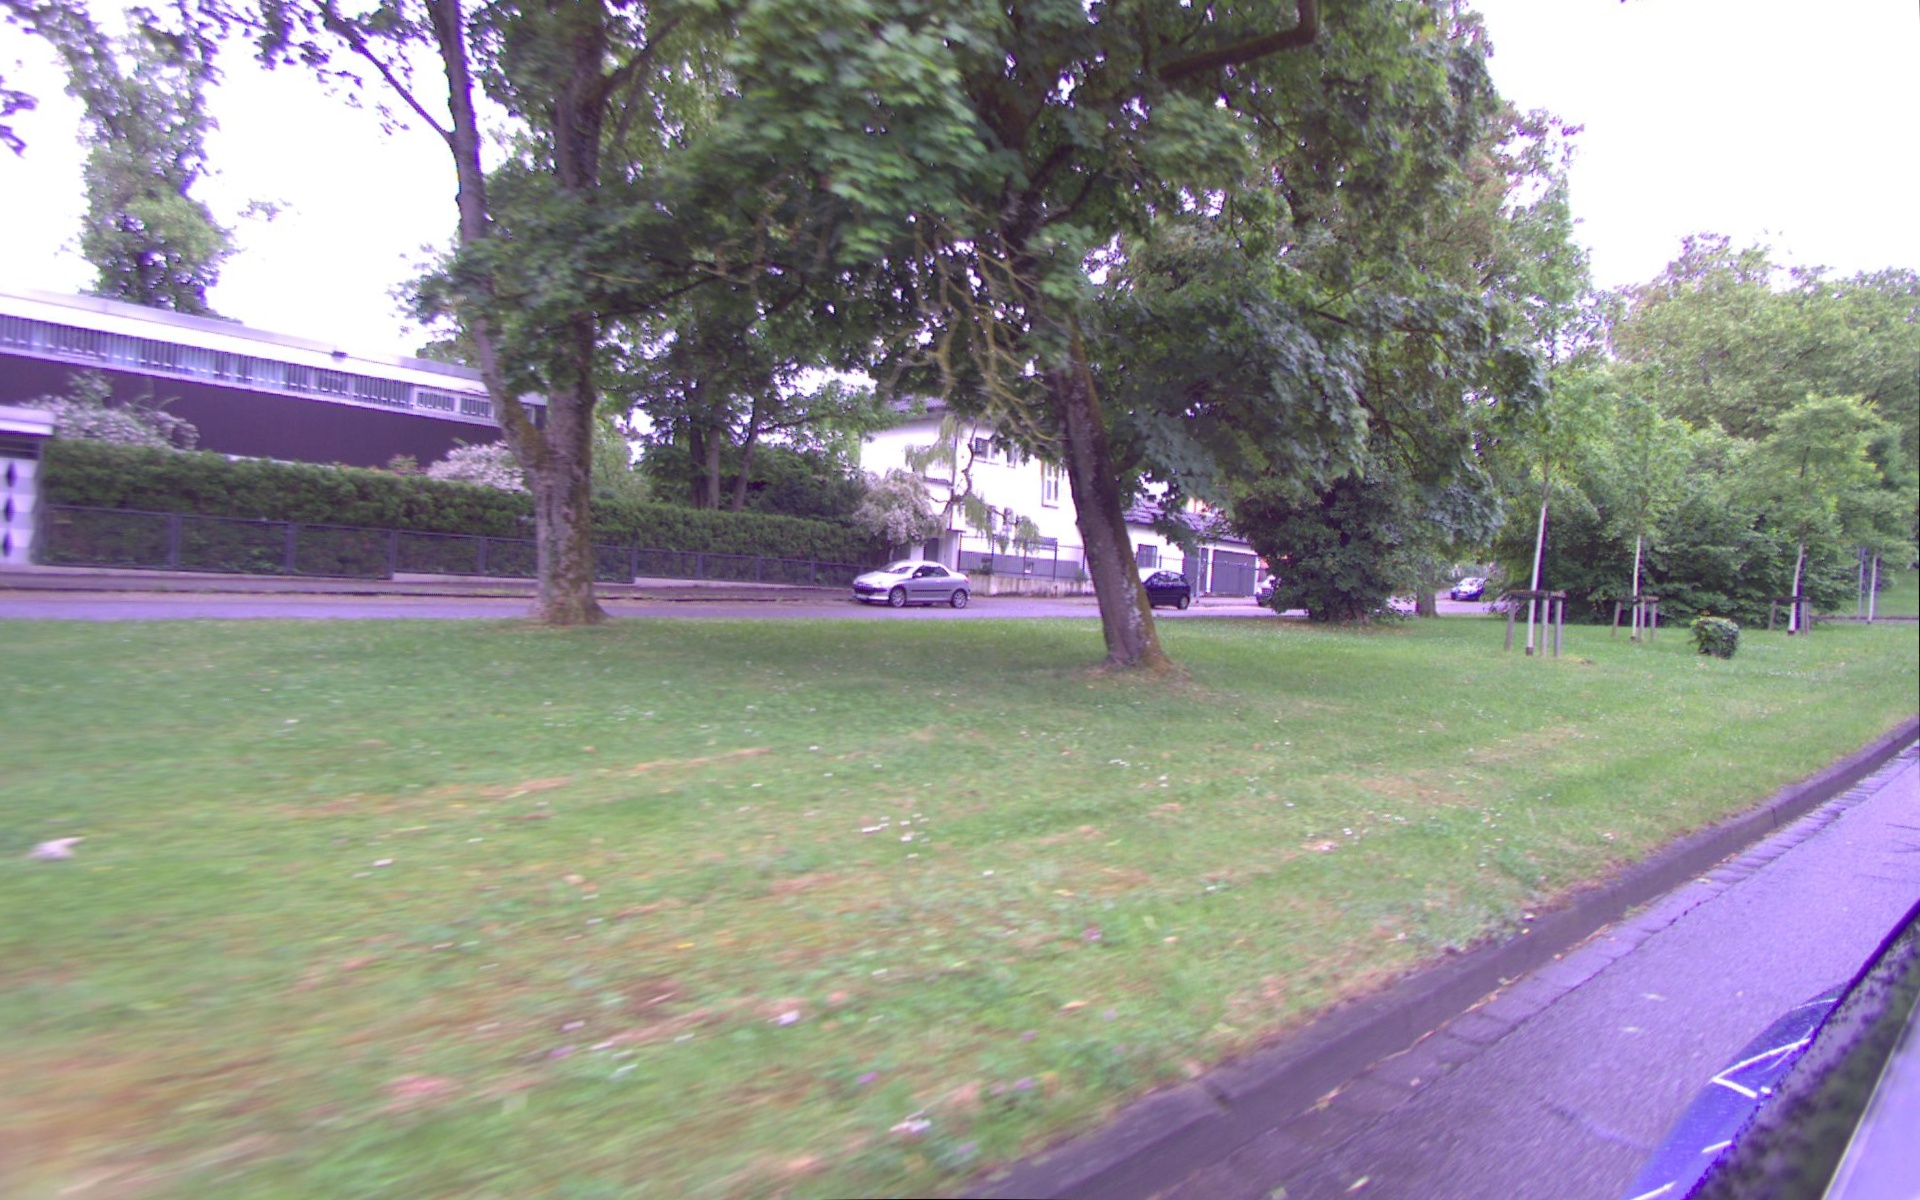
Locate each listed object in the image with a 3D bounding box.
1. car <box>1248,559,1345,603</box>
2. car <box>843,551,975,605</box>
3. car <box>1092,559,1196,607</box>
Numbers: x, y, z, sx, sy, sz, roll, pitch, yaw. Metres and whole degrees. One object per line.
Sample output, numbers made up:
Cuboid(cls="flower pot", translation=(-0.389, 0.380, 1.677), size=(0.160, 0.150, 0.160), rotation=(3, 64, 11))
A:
Cuboid(cls="car", translation=(15.713, -0.919, 47.133), size=(4.986, 1.901, 2.162), rotation=(-1, 4, -44))
Cuboid(cls="car", translation=(-1.475, -0.652, 29.889), size=(3.648, 1.392, 1.684), rotation=(0, 5, -44))
Cuboid(cls="car", translation=(7.044, -0.670, 38.509), size=(3.968, 1.644, 1.904), rotation=(-1, 4, -44))
